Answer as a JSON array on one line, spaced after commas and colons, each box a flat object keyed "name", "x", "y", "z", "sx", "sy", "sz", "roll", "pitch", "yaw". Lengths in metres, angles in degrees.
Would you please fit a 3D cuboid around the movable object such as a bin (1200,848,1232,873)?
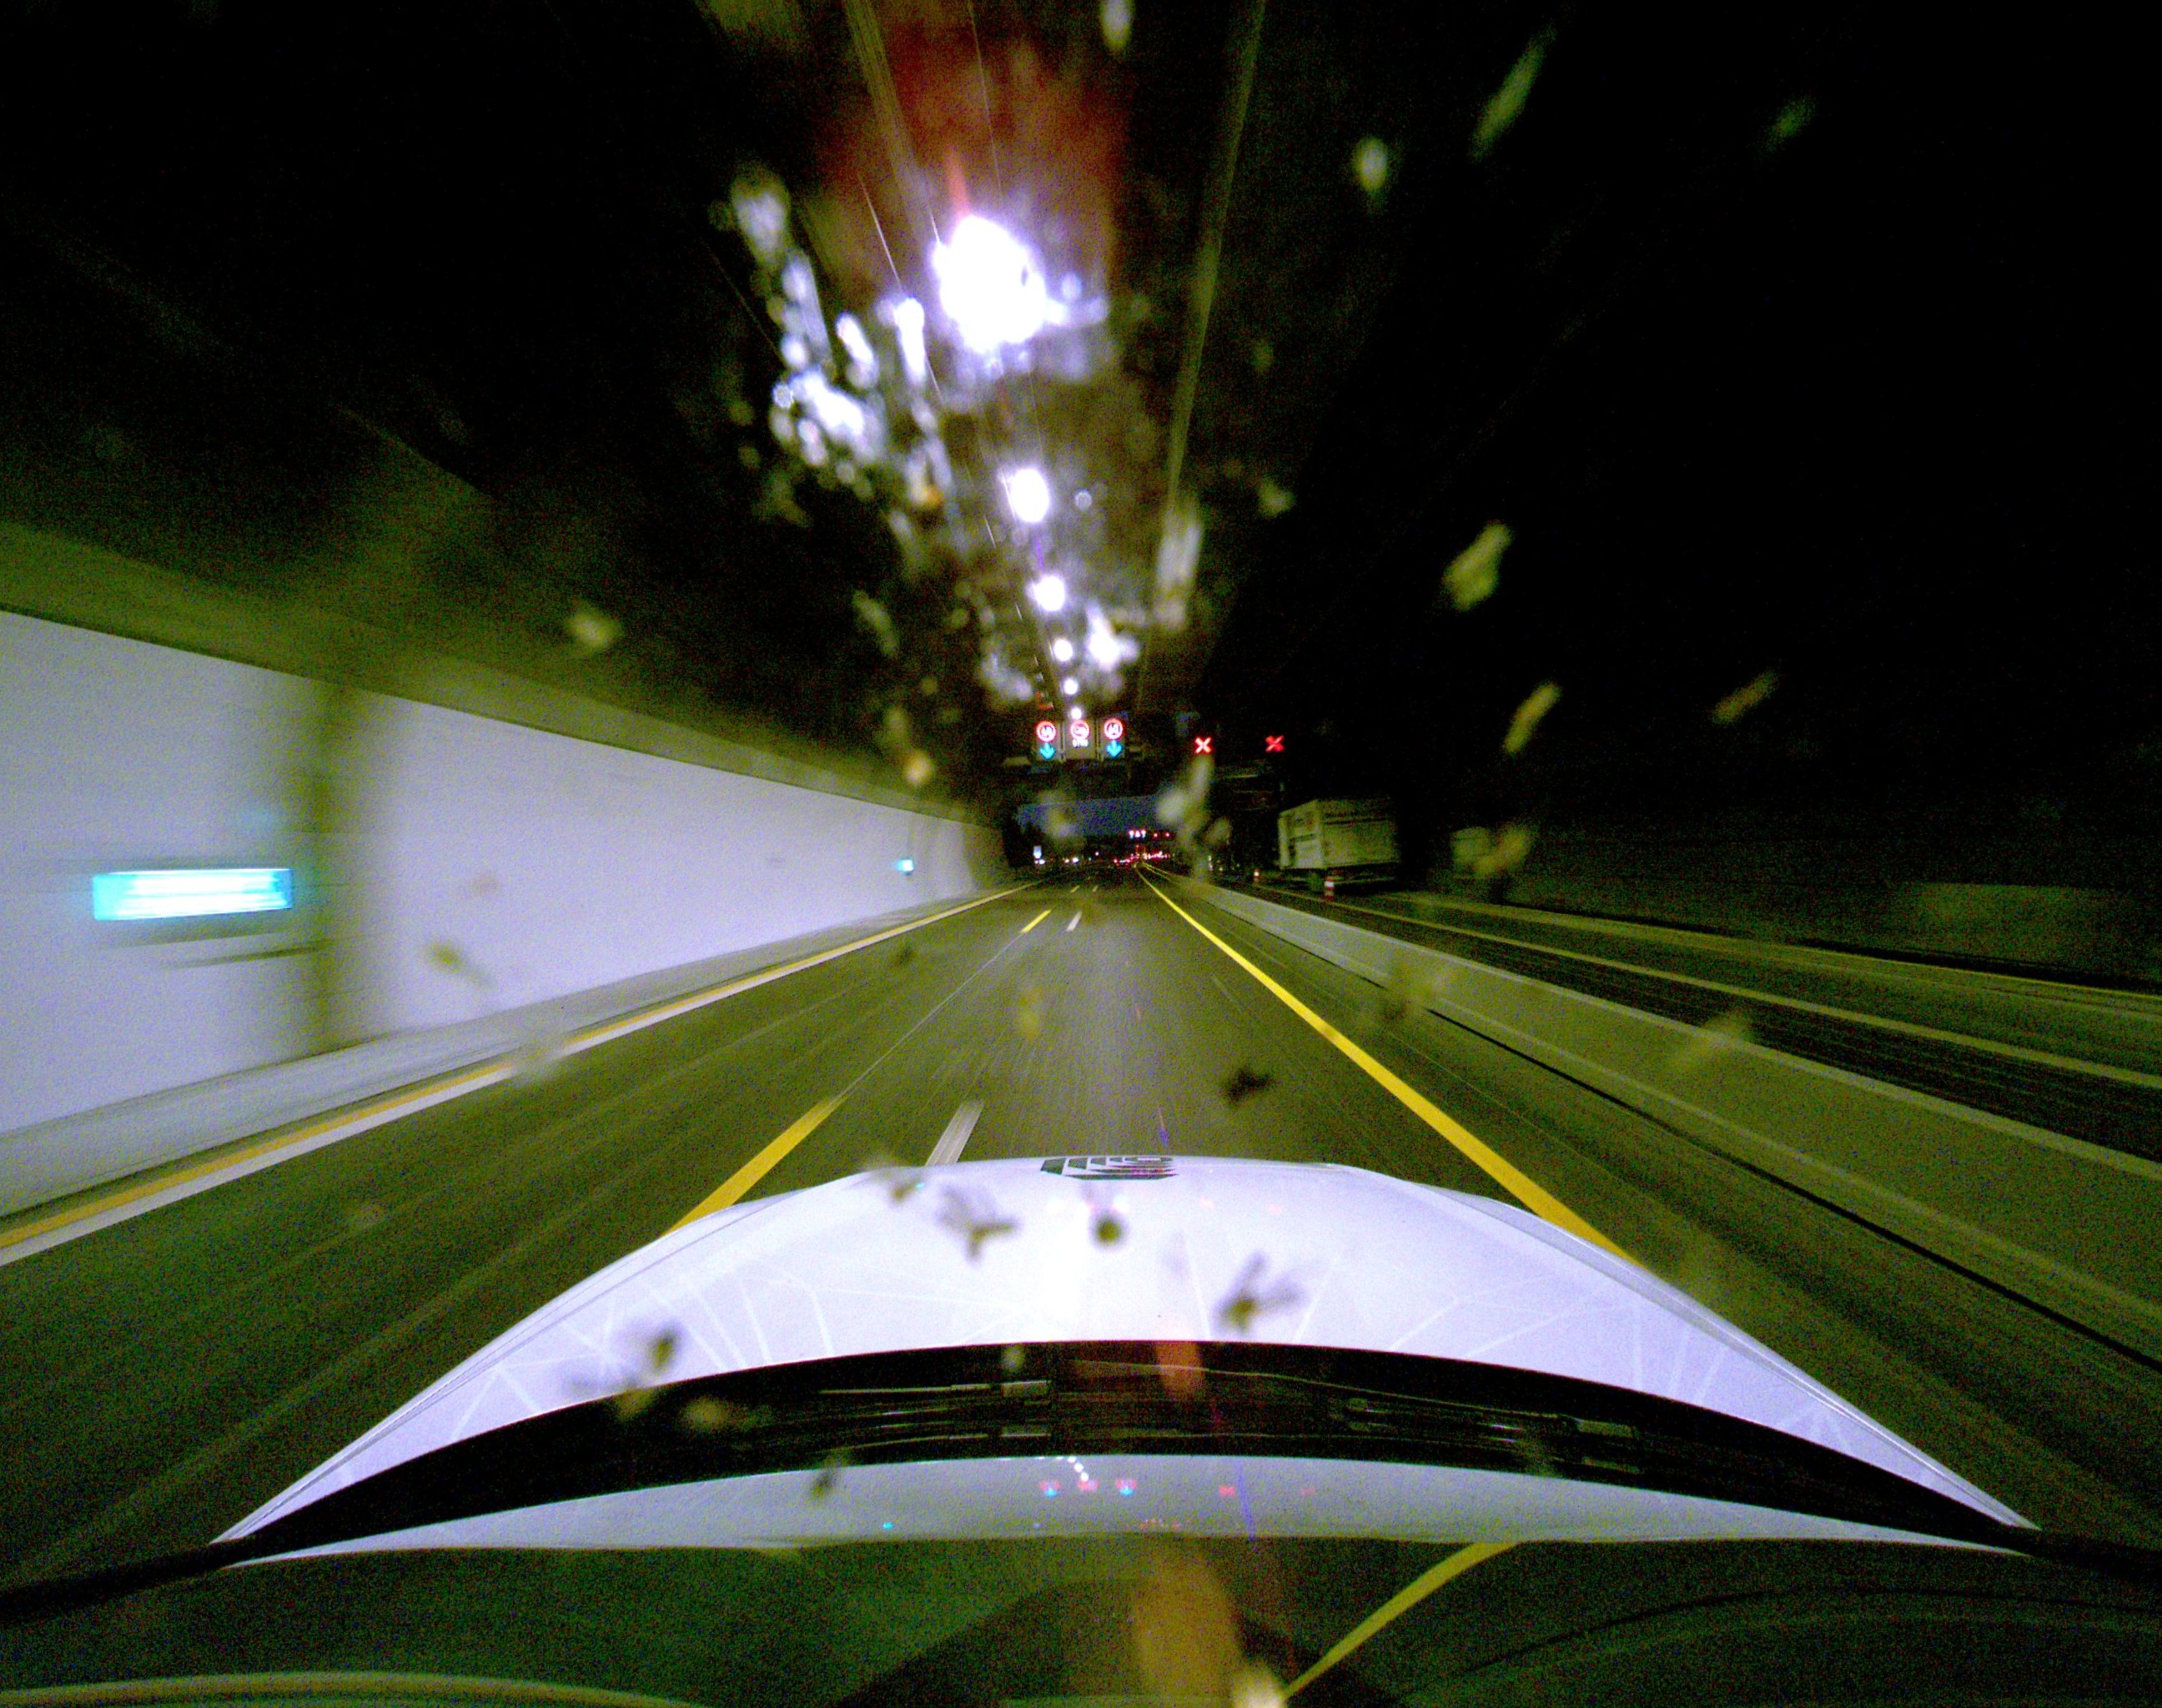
[{"name": "movable object such as a bin", "x": 10.401, "y": 0.502, "z": 63.029, "sx": 1.971, "sy": 1.816, "sz": 3.838, "roll": -1, "pitch": 0, "yaw": 2}]

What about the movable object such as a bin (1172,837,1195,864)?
[{"name": "movable object such as a bin", "x": 14.419, "y": -0.452, "z": 115.068, "sx": 2.726, "sy": 3.679, "sz": 6.338, "roll": -1, "pitch": 0, "yaw": 3}]

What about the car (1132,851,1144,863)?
[{"name": "car", "x": 10.399, "y": 0.541, "z": 149.227, "sx": 1.983, "sy": 2.013, "sz": 4.008, "roll": -1, "pitch": 0, "yaw": 7}]

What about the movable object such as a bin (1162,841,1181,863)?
[{"name": "movable object such as a bin", "x": 14.850, "y": -0.308, "z": 134.123, "sx": 2.726, "sy": 3.455, "sz": 6.952, "roll": -1, "pitch": 0, "yaw": 3}]

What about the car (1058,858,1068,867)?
[{"name": "car", "x": -4.214, "y": 1.871, "z": 187.885, "sx": 1.986, "sy": 2.014, "sz": 4.002, "roll": -1, "pitch": 0, "yaw": 2}]

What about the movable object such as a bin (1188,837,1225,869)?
[{"name": "movable object such as a bin", "x": 11.578, "y": -0.060, "z": 75.715, "sx": 2.726, "sy": 2.754, "sz": 7.055, "roll": -1, "pitch": 0, "yaw": 3}]

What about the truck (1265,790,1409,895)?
[{"name": "truck", "x": 9.067, "y": -0.328, "z": 30.028, "sx": 2.881, "sy": 3.272, "sz": 8.405, "roll": -1, "pitch": 0, "yaw": 2}]

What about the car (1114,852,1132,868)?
[{"name": "car", "x": 4.539, "y": 0.649, "z": 88.028, "sx": 1.880, "sy": 1.607, "sz": 4.002, "roll": -1, "pitch": 0, "yaw": 2}]

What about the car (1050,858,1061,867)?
[{"name": "car", "x": -5.365, "y": 1.776, "z": 170.883, "sx": 1.986, "sy": 2.014, "sz": 4.002, "roll": -1, "pitch": 0, "yaw": 2}]

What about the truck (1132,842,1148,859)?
[{"name": "truck", "x": 17.594, "y": -0.971, "z": 243.362, "sx": 4.527, "sy": 4.987, "sz": 9.606, "roll": -1, "pitch": 0, "yaw": 3}]

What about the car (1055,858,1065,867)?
[{"name": "car", "x": -4.569, "y": 1.830, "z": 180.965, "sx": 1.986, "sy": 2.014, "sz": 4.002, "roll": -1, "pitch": 0, "yaw": 2}]

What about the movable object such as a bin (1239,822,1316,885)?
[{"name": "movable object such as a bin", "x": 9.496, "y": -0.004, "z": 40.064, "sx": 2.229, "sy": 2.794, "sz": 7.236, "roll": -1, "pitch": 0, "yaw": 2}]

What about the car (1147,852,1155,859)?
[{"name": "car", "x": 19.232, "y": 0.461, "z": 223.167, "sx": 1.985, "sy": 2.013, "sz": 4.003, "roll": -1, "pitch": 0, "yaw": 3}]
